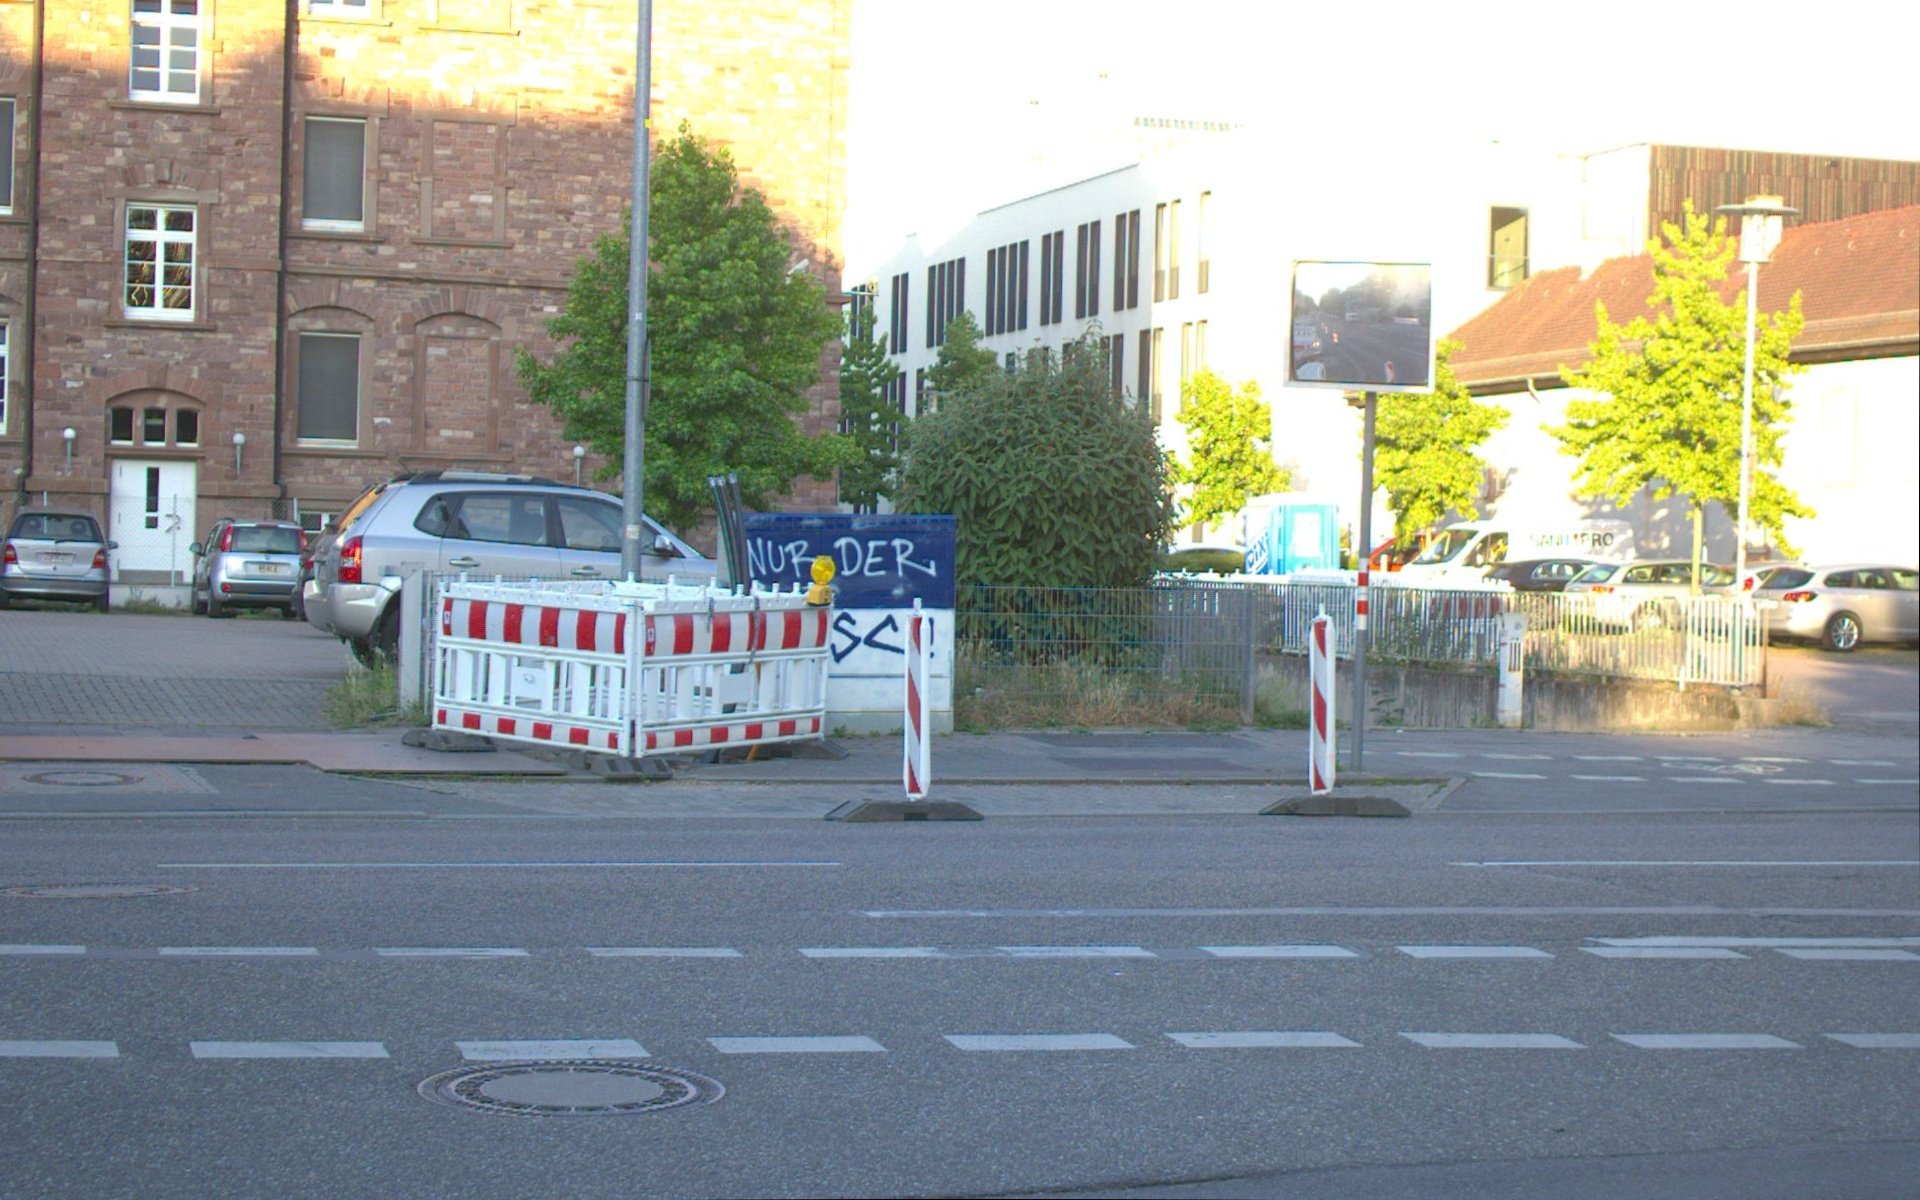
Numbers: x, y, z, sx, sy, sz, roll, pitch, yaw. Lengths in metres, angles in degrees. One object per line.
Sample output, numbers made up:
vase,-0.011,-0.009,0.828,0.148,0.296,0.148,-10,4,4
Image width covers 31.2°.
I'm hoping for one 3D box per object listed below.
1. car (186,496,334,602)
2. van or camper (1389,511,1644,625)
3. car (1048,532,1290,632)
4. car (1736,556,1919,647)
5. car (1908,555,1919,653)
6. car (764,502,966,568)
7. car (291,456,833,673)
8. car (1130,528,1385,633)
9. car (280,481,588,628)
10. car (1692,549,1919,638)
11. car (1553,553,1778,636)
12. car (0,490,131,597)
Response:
car,-10.916,-0.824,53.424,1.896,1.532,4.181,1,1,-16
van or camper,11.550,-0.661,71.370,4.961,2.233,1.687,1,1,-20
car,3.581,-0.311,58.936,3.739,1.597,1.687,1,1,-20
car,15.141,0.033,57.791,3.739,1.440,1.687,1,1,-20
car,16.832,0.116,53.406,3.739,1.523,1.687,1,1,-20
car,-2.078,-1.409,74.653,3.985,1.308,1.878,1,1,-17
car,-3.376,-0.297,29.026,4.268,1.703,1.703,1,1,-17
car,4.856,-0.323,56.189,3.739,1.597,1.687,1,1,-20
car,-6.425,-0.557,41.934,3.474,1.703,1.669,1,1,-17
car,14.948,-0.116,60.335,3.739,1.440,1.687,1,1,-20
car,13.126,-0.108,64.008,3.739,1.440,1.687,1,1,-20
car,-13.818,-0.899,52.794,1.896,1.532,4.181,1,1,-16
